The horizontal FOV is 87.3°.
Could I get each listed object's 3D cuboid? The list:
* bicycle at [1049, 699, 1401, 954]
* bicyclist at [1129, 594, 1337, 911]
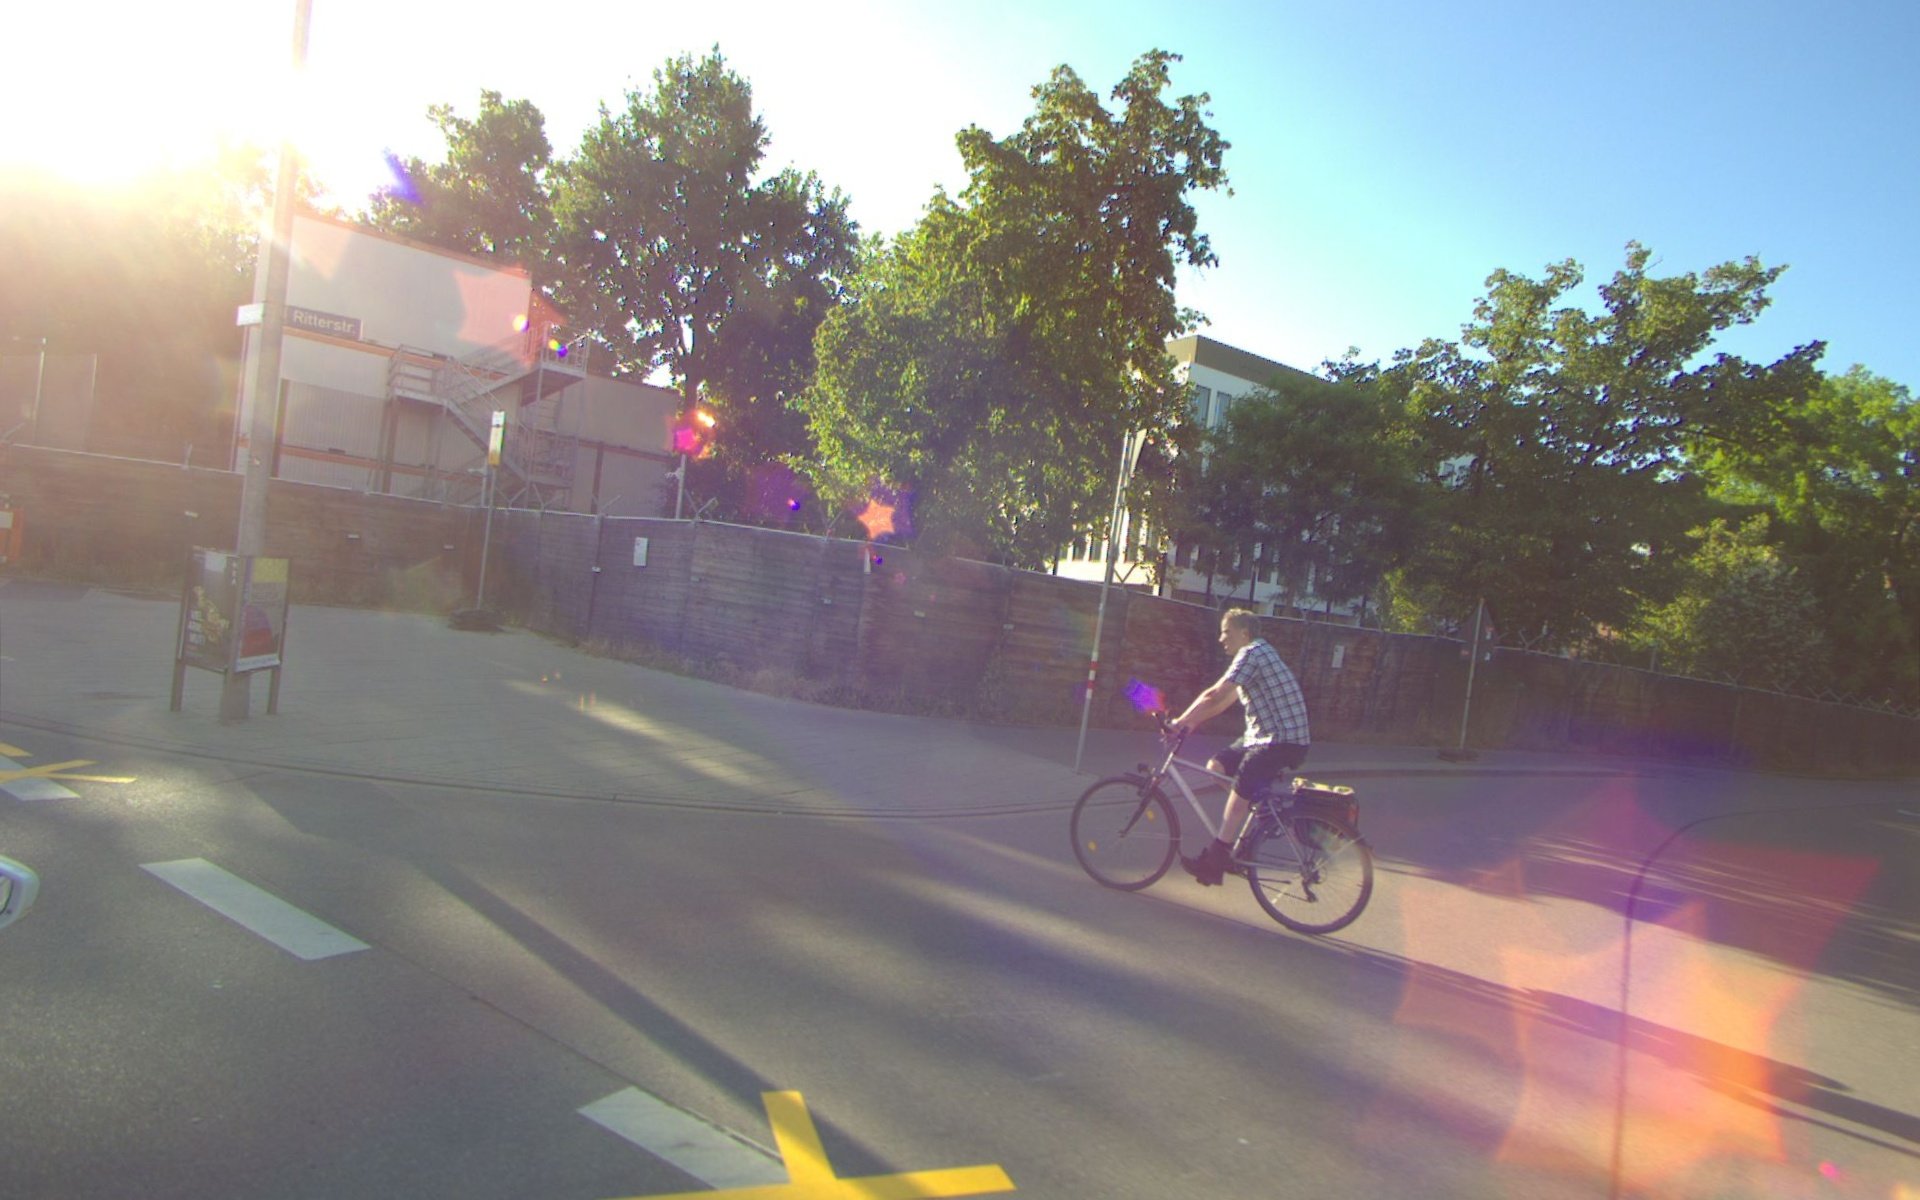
[{"bbox_3d":[1.533,1.269,6.003,1.878,1.074,0.428,7,1,29],"label":"bicycle"},{"bbox_3d":[1.600,0.842,5.889,0.887,1.634,0.585,7,1,28],"label":"bicyclist"}]
